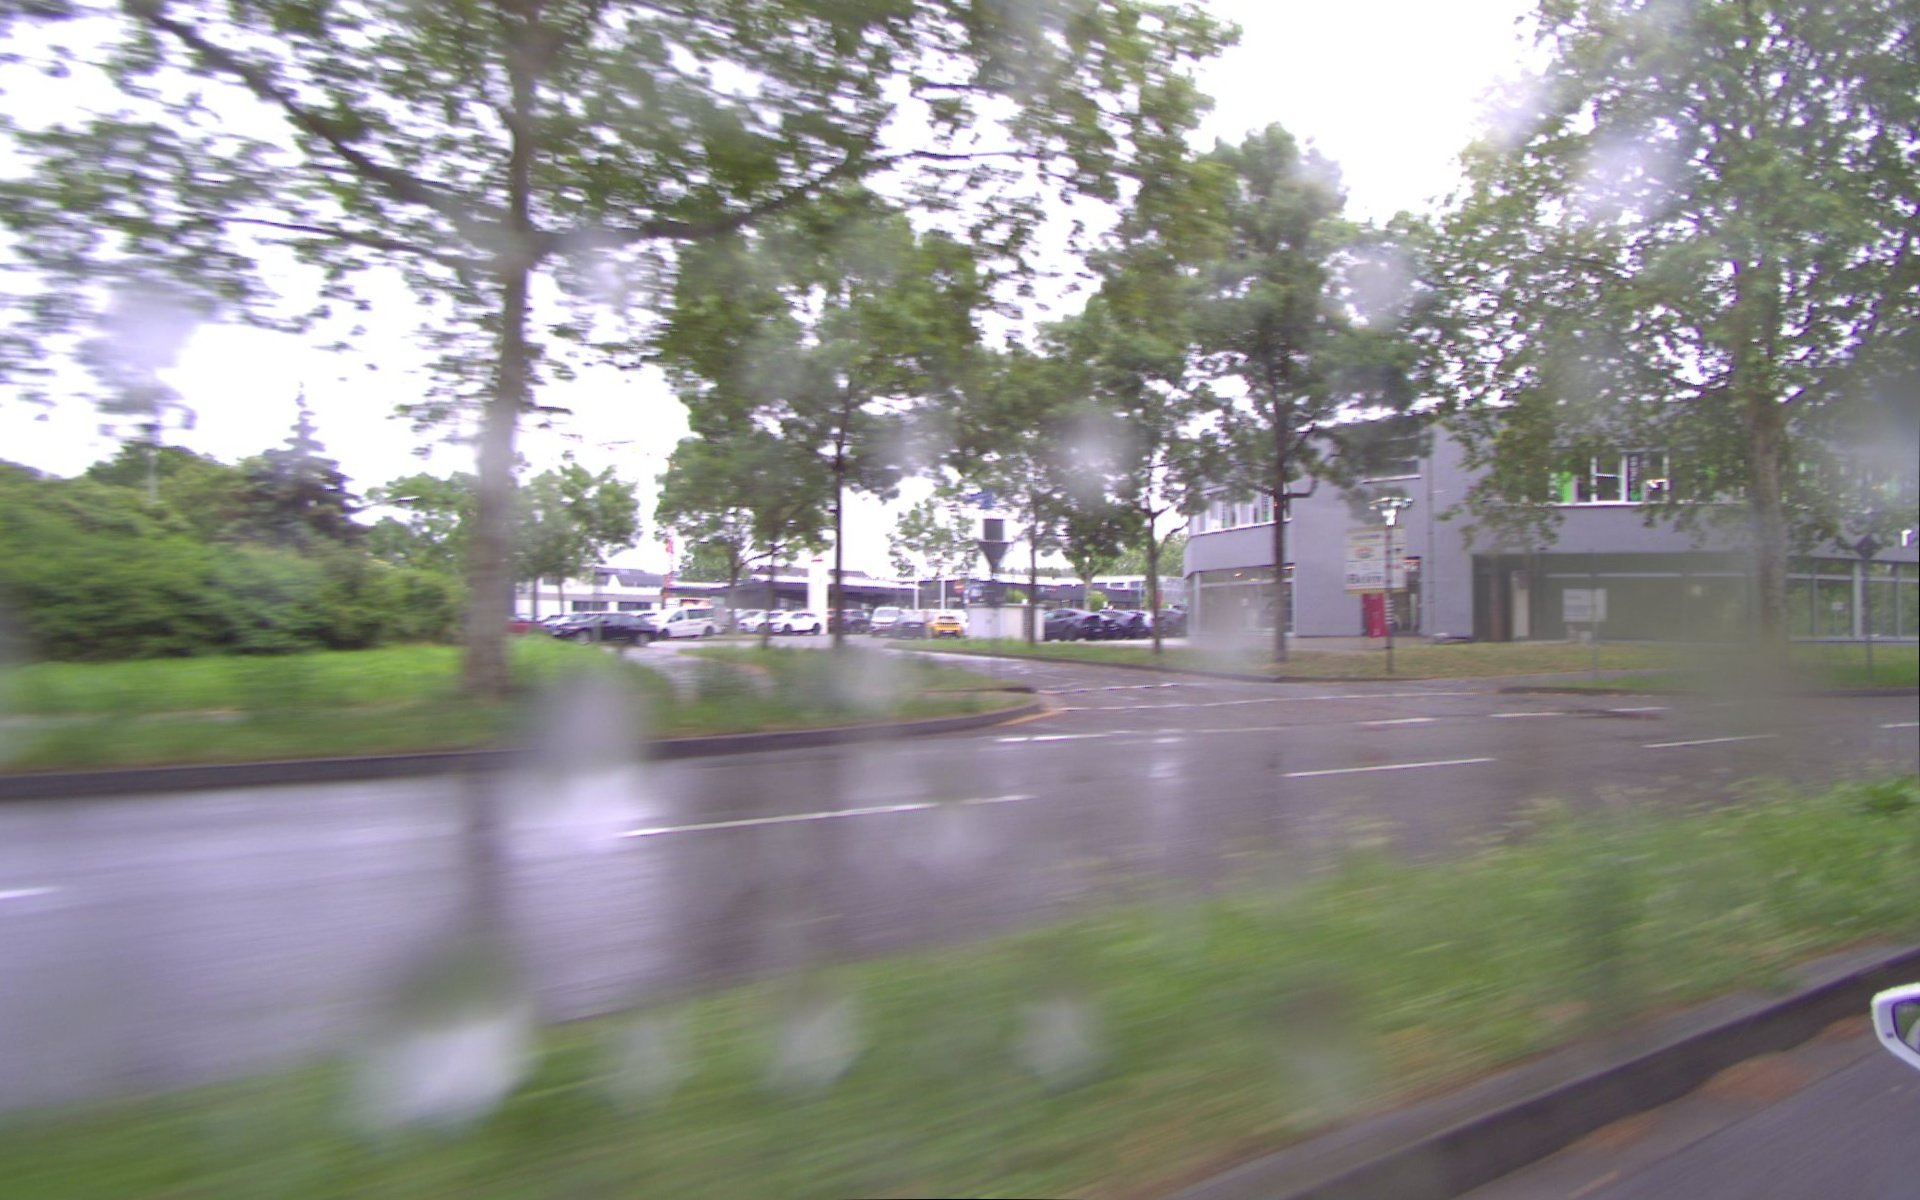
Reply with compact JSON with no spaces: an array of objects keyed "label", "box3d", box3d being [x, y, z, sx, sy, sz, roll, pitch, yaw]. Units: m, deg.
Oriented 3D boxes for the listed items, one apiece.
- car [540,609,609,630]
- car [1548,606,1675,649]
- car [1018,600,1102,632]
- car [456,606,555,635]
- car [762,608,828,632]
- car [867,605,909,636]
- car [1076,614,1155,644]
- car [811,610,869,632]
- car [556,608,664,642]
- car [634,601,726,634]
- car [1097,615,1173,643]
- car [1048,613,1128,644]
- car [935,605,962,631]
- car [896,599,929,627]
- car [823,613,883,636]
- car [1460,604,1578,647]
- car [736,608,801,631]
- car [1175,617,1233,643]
[{"label":"car","box3d":[-26.377,1.344,68.817,1.575,1.376,4.181,0,-1,42]},{"label":"car","box3d":[24.925,1.024,38.604,1.570,1.514,4.195,1,-1,-13]},{"label":"car","box3d":[4.905,0.765,49.714,1.586,1.514,4.153,1,-1,-42]},{"label":"car","box3d":[-22.610,1.019,50.072,1.575,1.376,4.181,0,-1,42]},{"label":"car","box3d":[-10.652,1.308,64.931,1.574,1.514,4.185,0,-1,40]},{"label":"car","box3d":[-4.491,1.258,63.134,1.781,1.838,4.207,1,-1,7]},{"label":"car","box3d":[8.367,1.553,54.325,1.586,1.514,4.153,1,-1,-42]},{"label":"car","box3d":[-8.461,1.468,71.068,1.574,1.514,4.185,0,-1,40]},{"label":"car","box3d":[-15.317,1.087,44.156,1.575,1.376,4.269,0,-1,42]},{"label":"car","box3d":[-16.801,1.050,60.522,1.768,1.889,5.204,0,-1,41]},{"label":"car","box3d":[9.904,1.640,57.134,1.586,1.514,4.153,1,-1,-42]},{"label":"car","box3d":[6.637,1.480,52.507,1.586,1.514,4.153,1,-1,-42]},{"label":"car","box3d":[-0.706,1.088,60.598,1.567,1.514,3.072,1,-1,0]},{"label":"car","box3d":[-2.761,0.757,58.874,1.848,1.514,4.204,1,-1,-3]},{"label":"car","box3d":[-7.353,1.680,69.412,1.574,1.514,4.185,0,-1,40]},{"label":"car","box3d":[21.373,0.950,38.604,1.570,1.514,4.195,1,-1,-13]},{"label":"car","box3d":[-12.604,1.287,66.396,1.574,1.514,4.185,0,-1,40]},{"label":"car","box3d":[15.373,1.884,63.326,1.586,1.514,3.275,1,-1,-42]}]
